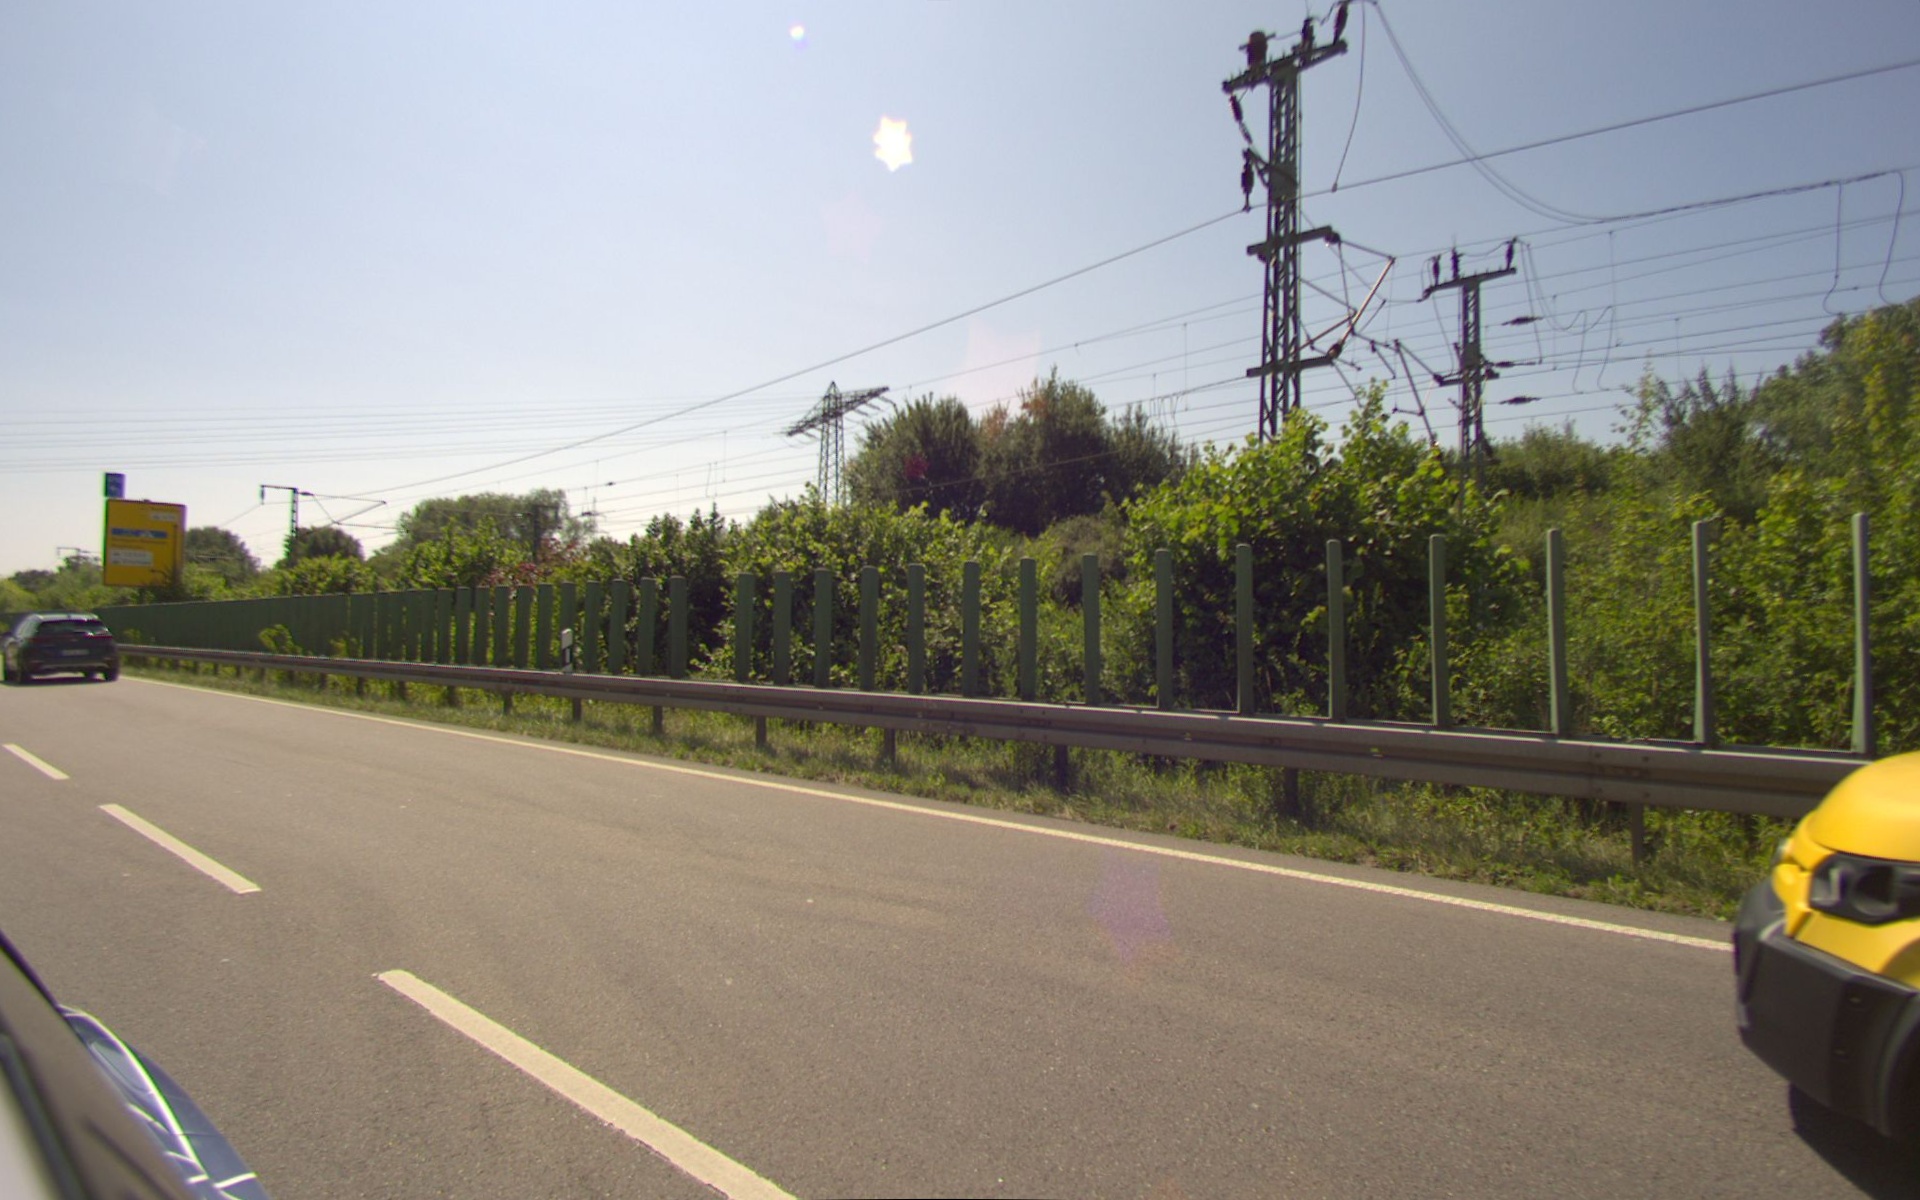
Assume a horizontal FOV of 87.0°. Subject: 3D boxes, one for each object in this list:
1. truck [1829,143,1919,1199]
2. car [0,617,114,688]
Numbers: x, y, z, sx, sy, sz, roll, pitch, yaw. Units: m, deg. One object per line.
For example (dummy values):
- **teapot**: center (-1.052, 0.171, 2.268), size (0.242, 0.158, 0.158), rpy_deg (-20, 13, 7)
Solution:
- **truck**: center (4.913, 0.122, 1.072), size (6.009, 2.366, 1.973), rpy_deg (-1, -1, 41)
- **car**: center (-22.633, 1.244, 25.173), size (4.368, 1.599, 1.782), rpy_deg (-1, -1, 41)
